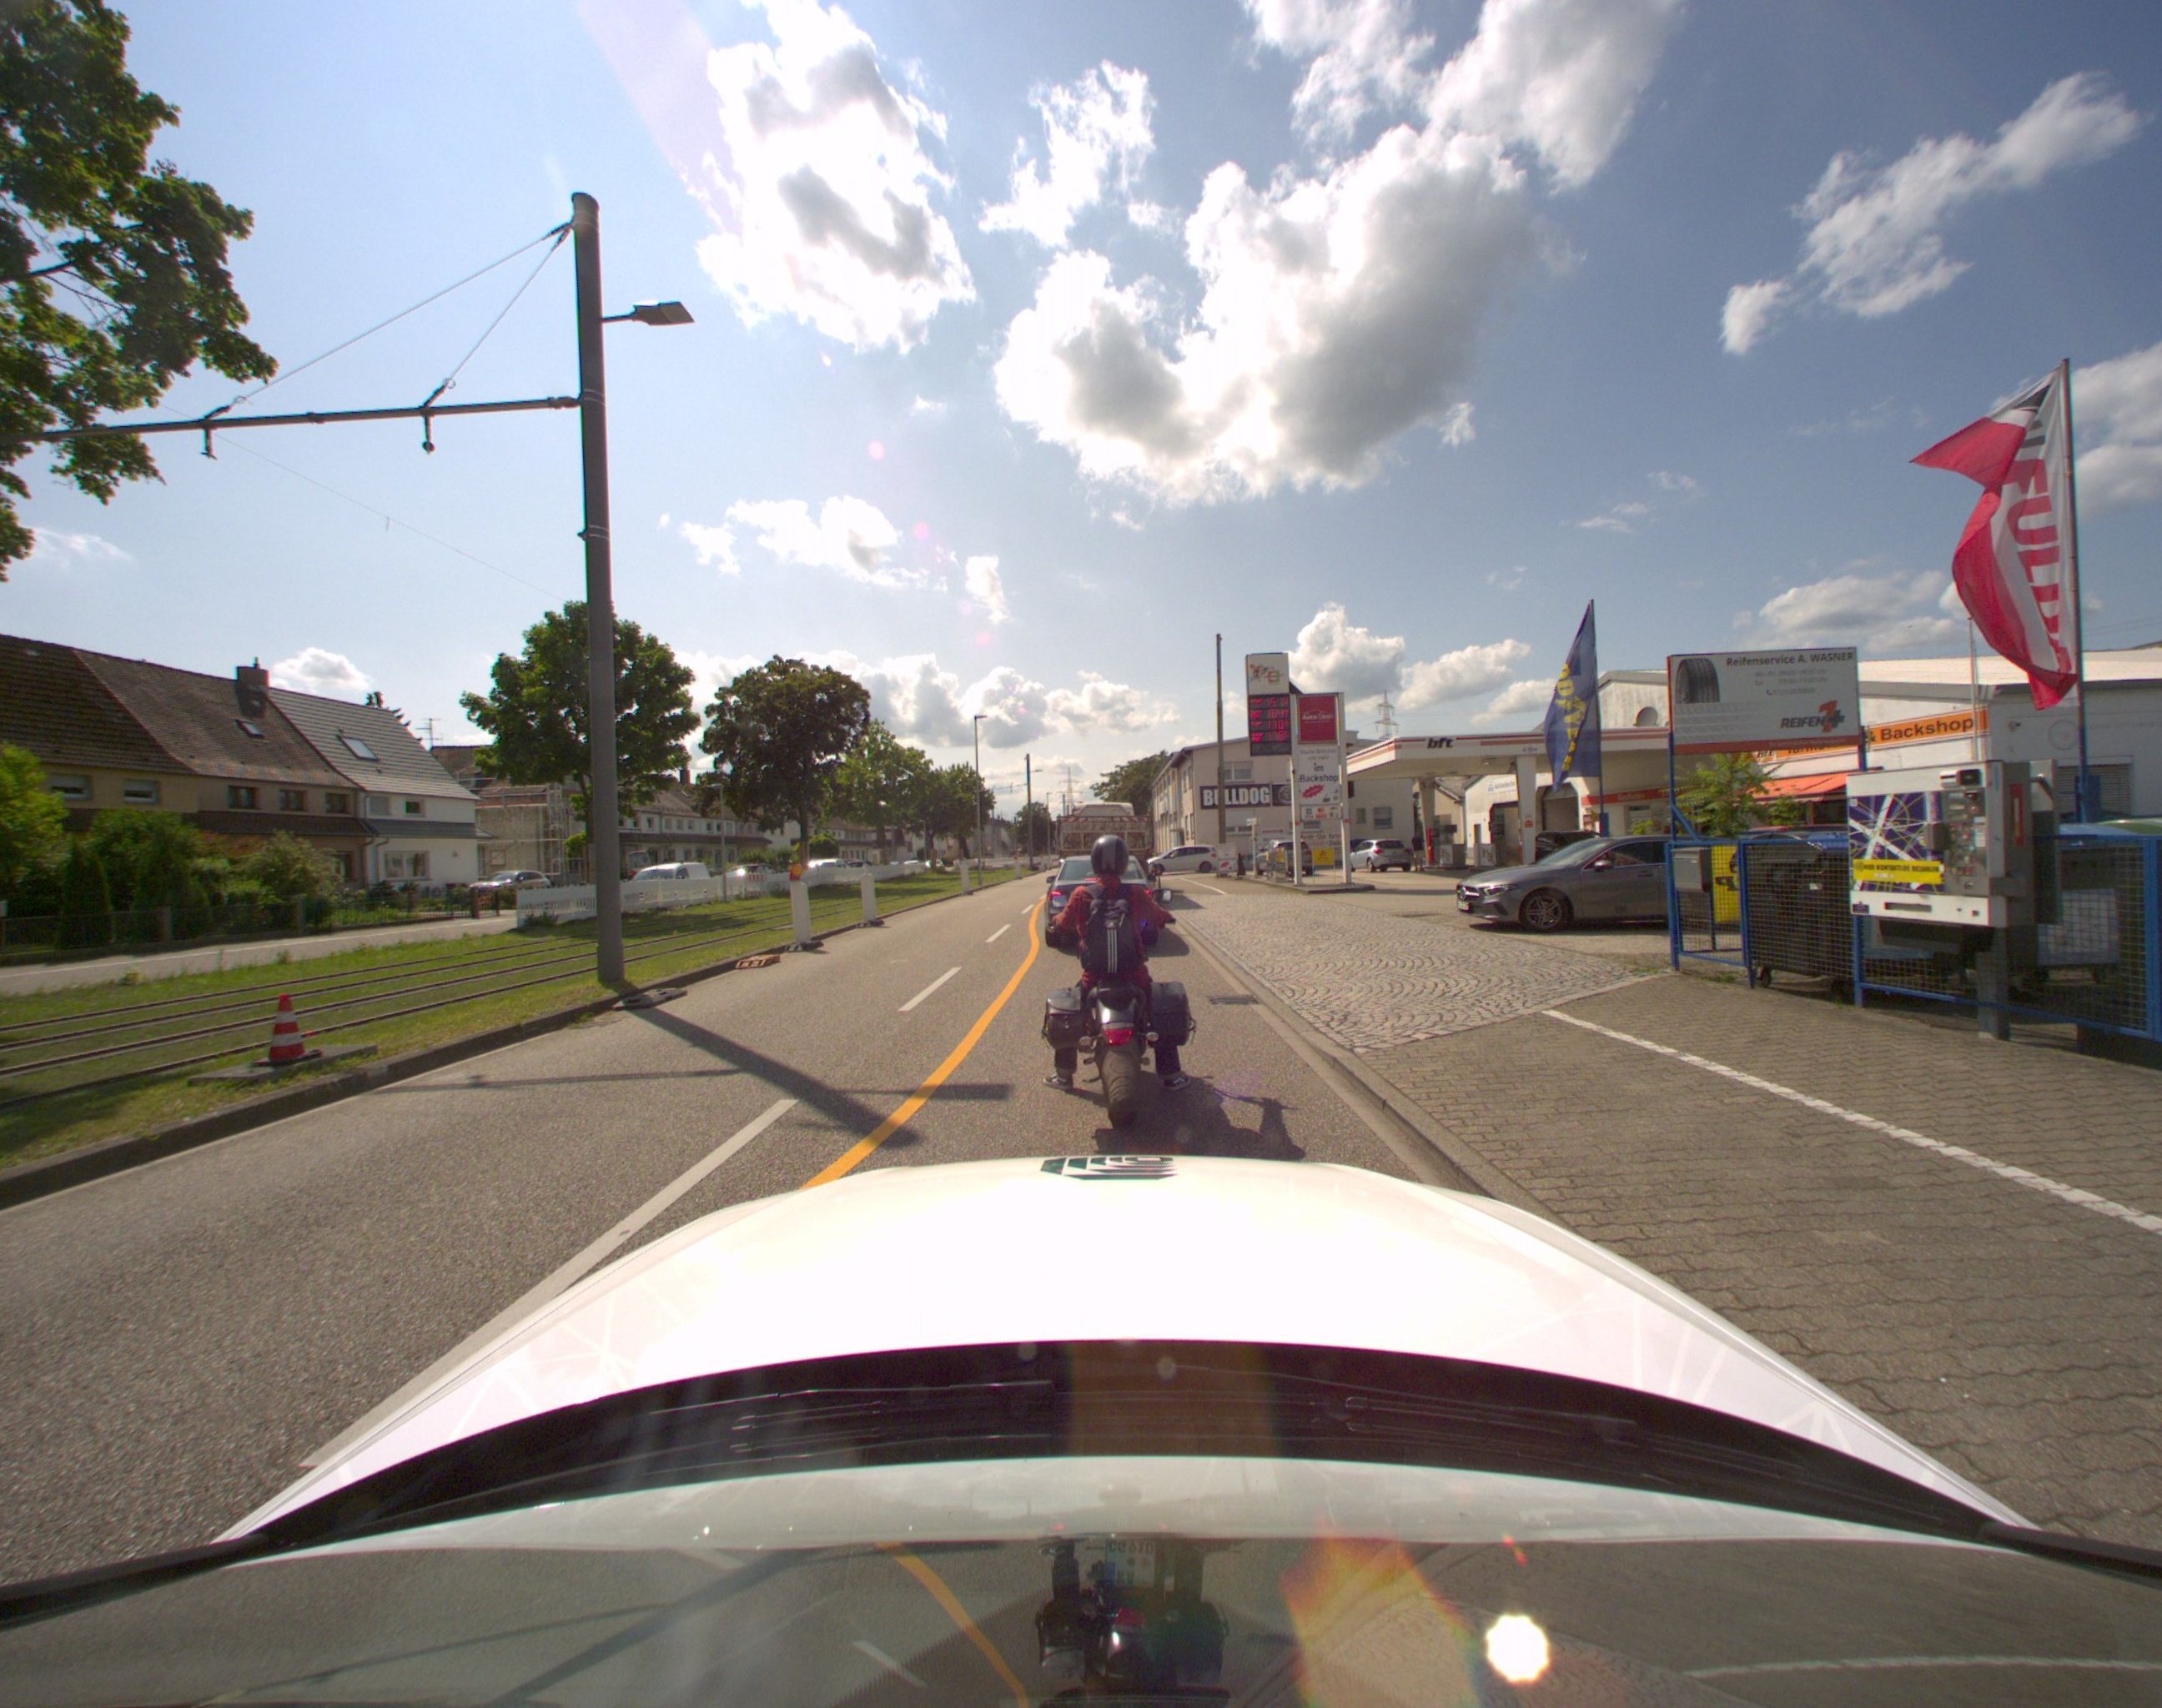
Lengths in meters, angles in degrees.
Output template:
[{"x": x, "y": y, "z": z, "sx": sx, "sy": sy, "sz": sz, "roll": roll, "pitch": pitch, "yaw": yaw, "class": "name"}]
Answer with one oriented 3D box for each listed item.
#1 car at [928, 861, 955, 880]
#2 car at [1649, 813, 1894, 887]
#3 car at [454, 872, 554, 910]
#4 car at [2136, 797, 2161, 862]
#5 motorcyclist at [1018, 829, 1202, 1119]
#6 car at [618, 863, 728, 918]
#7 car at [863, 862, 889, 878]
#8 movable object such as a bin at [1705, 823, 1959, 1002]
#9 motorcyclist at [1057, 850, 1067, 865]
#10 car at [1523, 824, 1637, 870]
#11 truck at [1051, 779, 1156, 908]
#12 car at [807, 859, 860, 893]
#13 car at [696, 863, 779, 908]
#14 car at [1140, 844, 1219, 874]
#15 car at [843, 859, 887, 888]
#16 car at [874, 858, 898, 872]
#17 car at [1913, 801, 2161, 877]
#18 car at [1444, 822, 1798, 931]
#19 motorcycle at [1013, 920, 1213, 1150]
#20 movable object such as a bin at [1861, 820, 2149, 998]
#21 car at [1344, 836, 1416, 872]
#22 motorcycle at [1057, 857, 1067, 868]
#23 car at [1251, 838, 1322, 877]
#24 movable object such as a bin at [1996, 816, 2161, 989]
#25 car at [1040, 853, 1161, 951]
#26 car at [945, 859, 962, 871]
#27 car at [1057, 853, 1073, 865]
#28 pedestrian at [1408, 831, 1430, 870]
[{"x": -13.729, "y": 1.631, "z": 80.456, "sx": 1.769, "sy": 1.722, "sz": 4.130, "roll": -2, "pitch": 0, "yaw": 2, "class": "car"}, {"x": 15.774, "y": -0.089, "z": 18.759, "sx": 4.180, "sy": 1.463, "sz": 1.587, "roll": -2, "pitch": 0, "yaw": 2, "class": "car"}, {"x": -27.437, "y": 1.727, "z": 38.896, "sx": 1.769, "sy": 1.519, "sz": 4.002, "roll": -2, "pitch": 0, "yaw": 2, "class": "car"}, {"x": 26.526, "y": -0.637, "z": 18.004, "sx": 4.180, "sy": 1.463, "sz": 1.587, "roll": -2, "pitch": 0, "yaw": 2, "class": "car"}, {"x": 0.180, "y": 0.677, "z": 5.142, "sx": 0.975, "sy": 1.602, "sz": 1.088, "roll": -2, "pitch": 0, "yaw": 1, "class": "motorcyclist"}, {"x": -15.465, "y": 1.318, "z": 31.158, "sx": 1.769, "sy": 1.821, "sz": 4.366, "roll": -2, "pitch": 0, "yaw": 2, "class": "car"}, {"x": -24.389, "y": 1.839, "z": 97.044, "sx": 1.769, "sy": 1.722, "sz": 4.130, "roll": -2, "pitch": 0, "yaw": 2, "class": "car"}, {"x": 6.689, "y": 0.479, "z": 7.360, "sx": 1.104, "sy": 1.436, "sz": 1.244, "roll": -2, "pitch": 0, "yaw": 1, "class": "movable object such as a bin"}, {"x": -1.716, "y": 0.306, "z": 74.945, "sx": 0.866, "sy": 1.378, "sz": 0.800, "roll": -2, "pitch": 0, "yaw": -1, "class": "motorcyclist"}, {"x": 18.119, "y": -0.247, "z": 29.786, "sx": 1.800, "sy": 1.503, "sz": 3.833, "roll": -2, "pitch": 0, "yaw": 0, "class": "car"}, {"x": 0.727, "y": -0.288, "z": 25.501, "sx": 2.628, "sy": 3.296, "sz": 8.059, "roll": -2, "pitch": 0, "yaw": 2, "class": "truck"}, {"x": -15.064, "y": 1.328, "z": 49.863, "sx": 1.769, "sy": 1.867, "sz": 4.130, "roll": -2, "pitch": 0, "yaw": 2, "class": "car"}, {"x": -15.408, "y": 1.384, "z": 36.800, "sx": 1.769, "sy": 1.774, "sz": 4.230, "roll": -2, "pitch": 0, "yaw": 2, "class": "car"}, {"x": 5.674, "y": 0.291, "z": 47.087, "sx": 4.225, "sy": 1.543, "sz": 1.669, "roll": -2, "pitch": 0, "yaw": -7, "class": "car"}, {"x": -14.804, "y": 1.336, "z": 56.040, "sx": 1.769, "sy": 1.805, "sz": 4.130, "roll": -2, "pitch": 0, "yaw": 2, "class": "car"}, {"x": -25.160, "y": 1.401, "z": 105.205, "sx": 1.769, "sy": 1.722, "sz": 4.130, "roll": -2, "pitch": 0, "yaw": 2, "class": "car"}, {"x": 21.522, "y": -0.340, "z": 18.167, "sx": 4.180, "sy": 1.463, "sz": 1.587, "roll": -2, "pitch": 0, "yaw": 2, "class": "car"}, {"x": 8.125, "y": 0.340, "z": 12.629, "sx": 4.247, "sy": 1.415, "sz": 1.678, "roll": -2, "pitch": 0, "yaw": 9, "class": "car"}, {"x": 0.204, "y": 1.025, "z": 5.446, "sx": 0.975, "sy": 0.897, "sz": 2.654, "roll": -2, "pitch": 0, "yaw": 2, "class": "motorcycle"}, {"x": 8.084, "y": 0.445, "z": 7.220, "sx": 1.104, "sy": 1.396, "sz": 1.244, "roll": -2, "pitch": 0, "yaw": 1, "class": "movable object such as a bin"}, {"x": 13.476, "y": -0.009, "z": 36.921, "sx": 1.800, "sy": 1.503, "sz": 3.832, "roll": -2, "pitch": 0, "yaw": -1, "class": "car"}, {"x": -1.703, "y": 0.772, "z": 75.009, "sx": 0.866, "sy": 1.021, "sz": 2.244, "roll": -2, "pitch": 0, "yaw": -1, "class": "motorcycle"}, {"x": 9.116, "y": 0.150, "z": 36.454, "sx": 1.665, "sy": 1.562, "sz": 4.235, "roll": -2, "pitch": 0, "yaw": -6, "class": "car"}, {"x": 9.486, "y": 0.375, "z": 7.132, "sx": 1.397, "sy": 1.396, "sz": 1.338, "roll": -2, "pitch": 0, "yaw": 1, "class": "movable object such as a bin"}, {"x": 0.363, "y": 0.723, "z": 14.263, "sx": 1.816, "sy": 1.452, "sz": 4.002, "roll": 0, "pitch": 0, "yaw": 2, "class": "car"}, {"x": -19.634, "y": 1.633, "z": 125.919, "sx": 1.769, "sy": 1.722, "sz": 4.130, "roll": -2, "pitch": 0, "yaw": 2, "class": "car"}, {"x": -2.109, "y": 0.700, "z": 108.984, "sx": 1.816, "sy": 1.452, "sz": 4.326, "roll": -3, "pitch": 0, "yaw": 2, "class": "car"}, {"x": 14.652, "y": -0.132, "z": 35.320, "sx": 0.701, "sy": 1.656, "sz": 0.551, "roll": -2, "pitch": 0, "yaw": 37, "class": "pedestrian"}]
